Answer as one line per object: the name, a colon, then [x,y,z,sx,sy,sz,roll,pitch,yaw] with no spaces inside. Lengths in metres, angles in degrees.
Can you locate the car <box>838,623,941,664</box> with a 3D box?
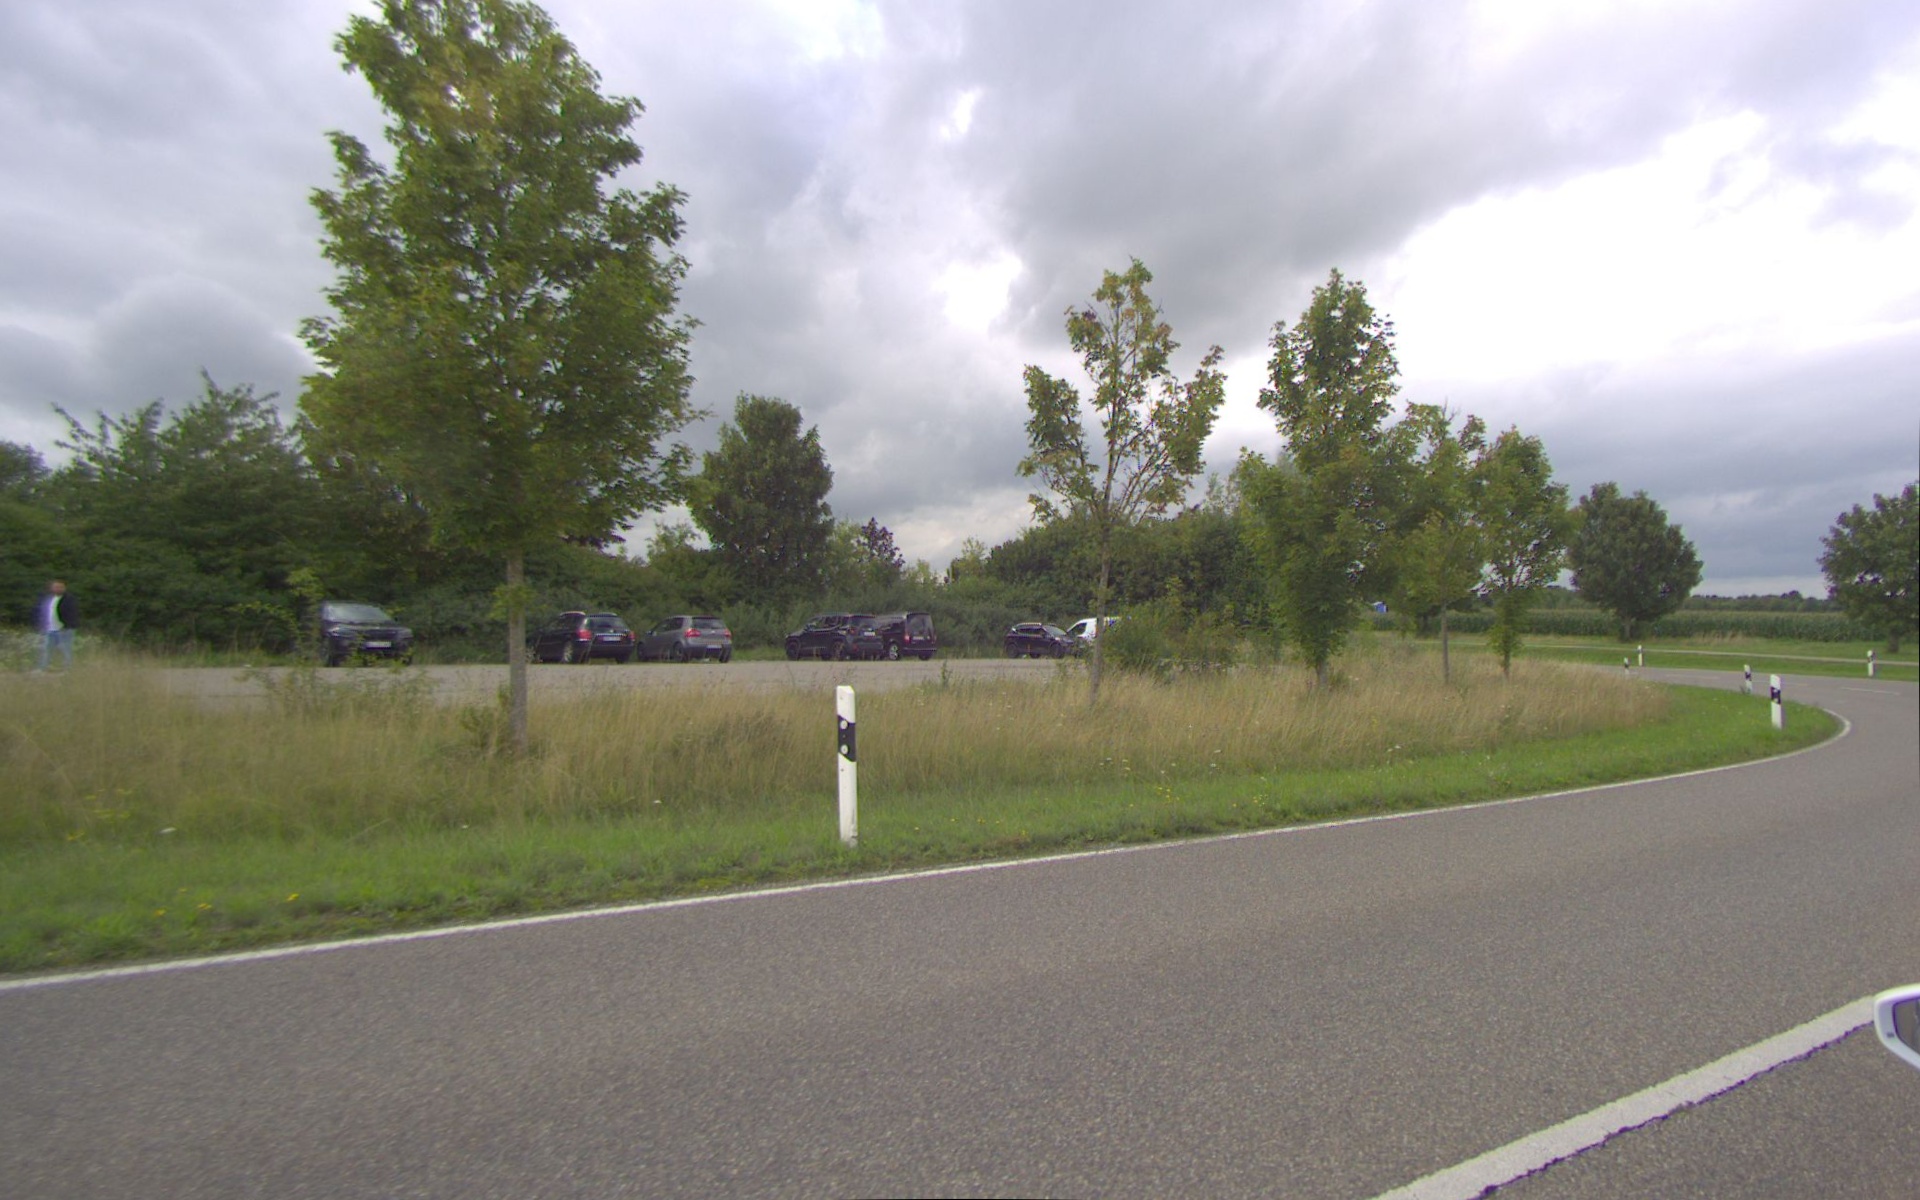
car: [-2.747,1.638,38.470,3.936,1.398,1.470,1,-1,37]

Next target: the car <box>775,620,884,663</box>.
car: [-4.687,1.453,35.862,3.935,1.398,1.471,1,-1,36]

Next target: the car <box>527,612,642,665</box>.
car: [-11.090,1.091,29.551,1.811,1.398,3.950,1,-1,-43]

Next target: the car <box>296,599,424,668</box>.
car: [-15.149,0.791,25.261,4.196,1.587,1.747,0,-1,45]

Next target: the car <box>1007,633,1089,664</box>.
car: [3.768,2.088,43.459,1.323,1.182,3.573,1,-1,-42]

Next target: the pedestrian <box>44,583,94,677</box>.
pedestrian: [-16.338,0.546,18.432,0.655,1.689,0.510,1,0,-40]

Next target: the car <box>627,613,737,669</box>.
car: [-8.954,1.262,32.138,1.745,1.587,4.202,1,-1,-41]

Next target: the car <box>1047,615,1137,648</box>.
car: [5.963,1.413,45.592,3.942,1.398,1.468,0,-1,42]
